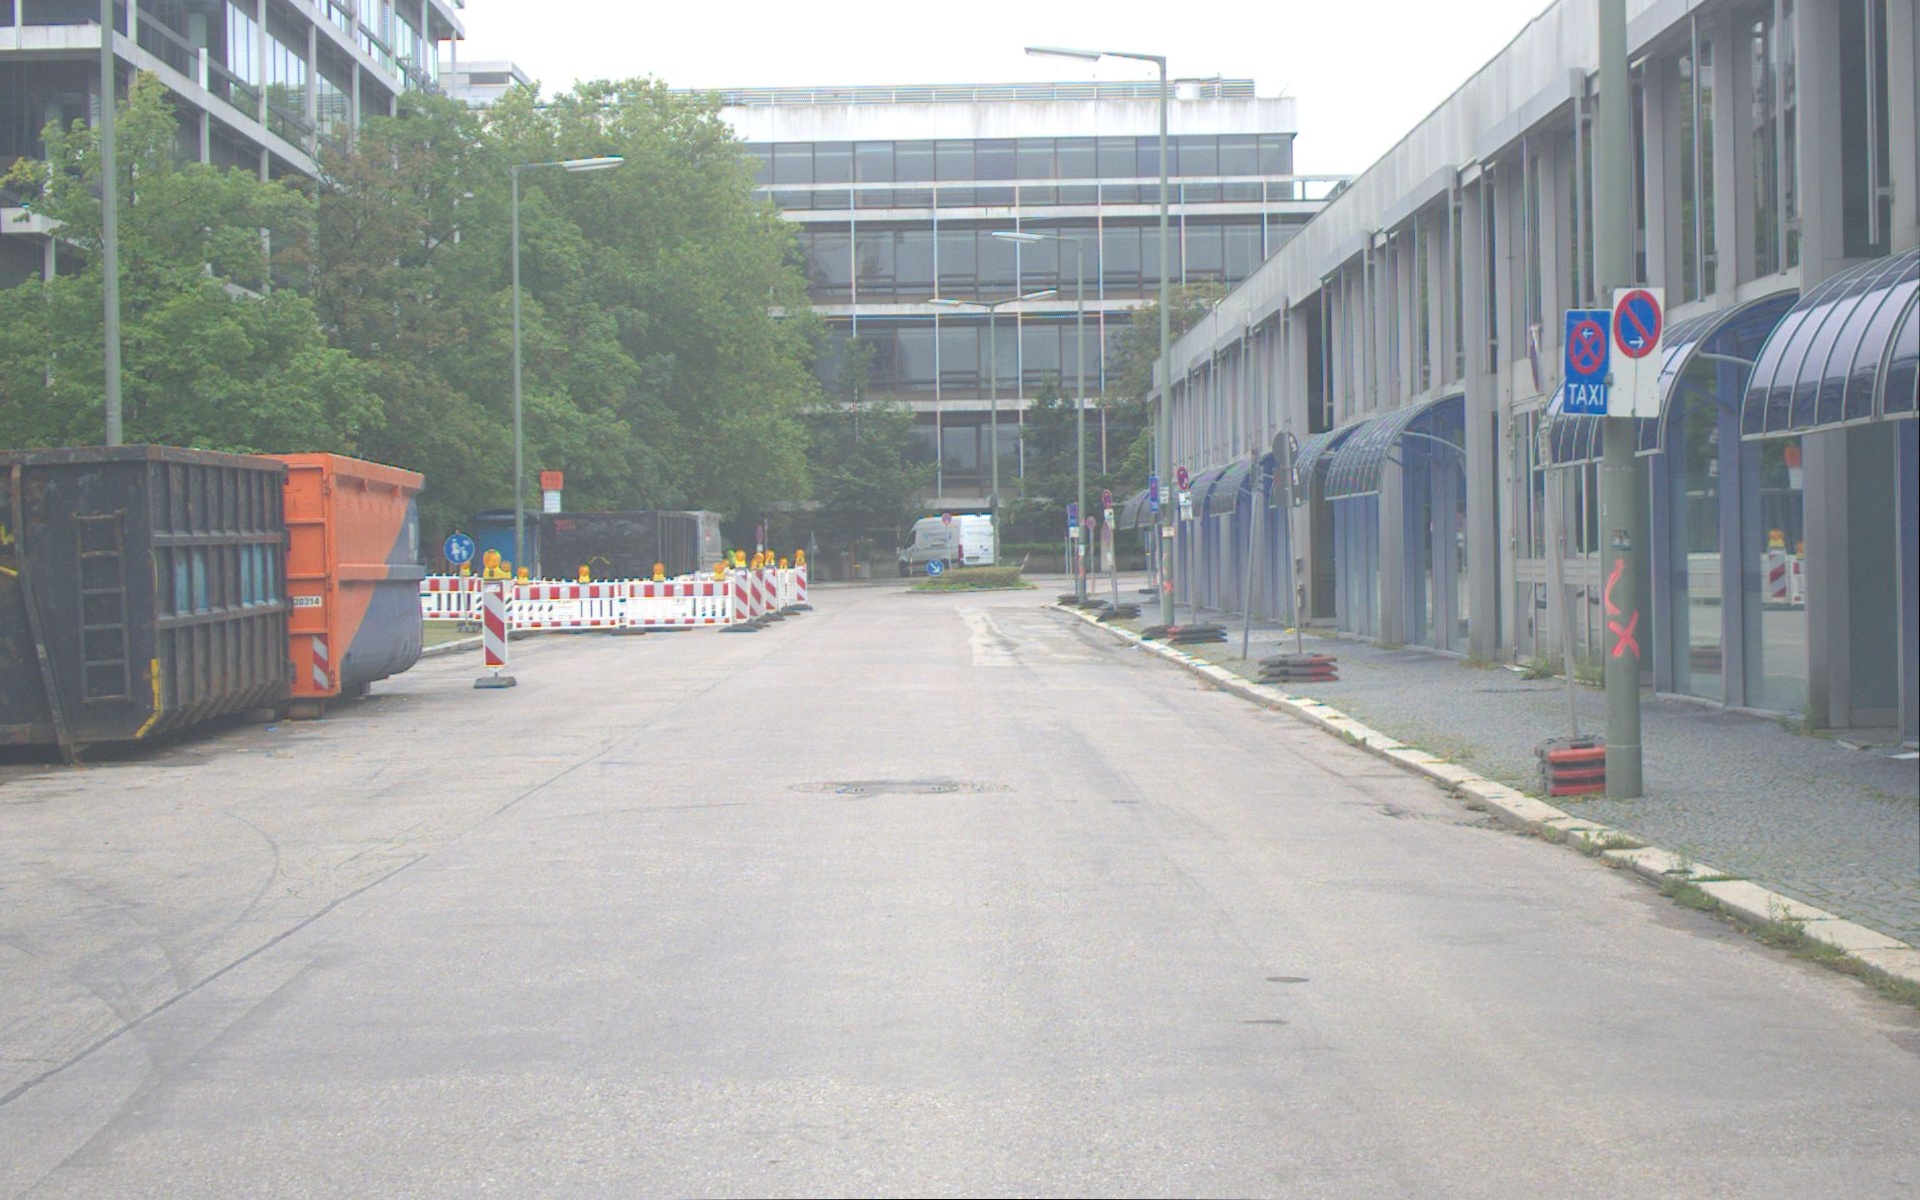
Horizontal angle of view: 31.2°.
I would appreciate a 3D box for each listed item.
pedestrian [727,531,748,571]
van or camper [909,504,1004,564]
[{"bbox_3d":[-9.470,-2.078,146.317,0.741,1.671,0.682,-1,1,-19],"label":"pedestrian"},{"bbox_3d":[-0.175,-2.834,147.565,2.085,2.483,5.068,-2,1,-26],"label":"van or camper"}]
